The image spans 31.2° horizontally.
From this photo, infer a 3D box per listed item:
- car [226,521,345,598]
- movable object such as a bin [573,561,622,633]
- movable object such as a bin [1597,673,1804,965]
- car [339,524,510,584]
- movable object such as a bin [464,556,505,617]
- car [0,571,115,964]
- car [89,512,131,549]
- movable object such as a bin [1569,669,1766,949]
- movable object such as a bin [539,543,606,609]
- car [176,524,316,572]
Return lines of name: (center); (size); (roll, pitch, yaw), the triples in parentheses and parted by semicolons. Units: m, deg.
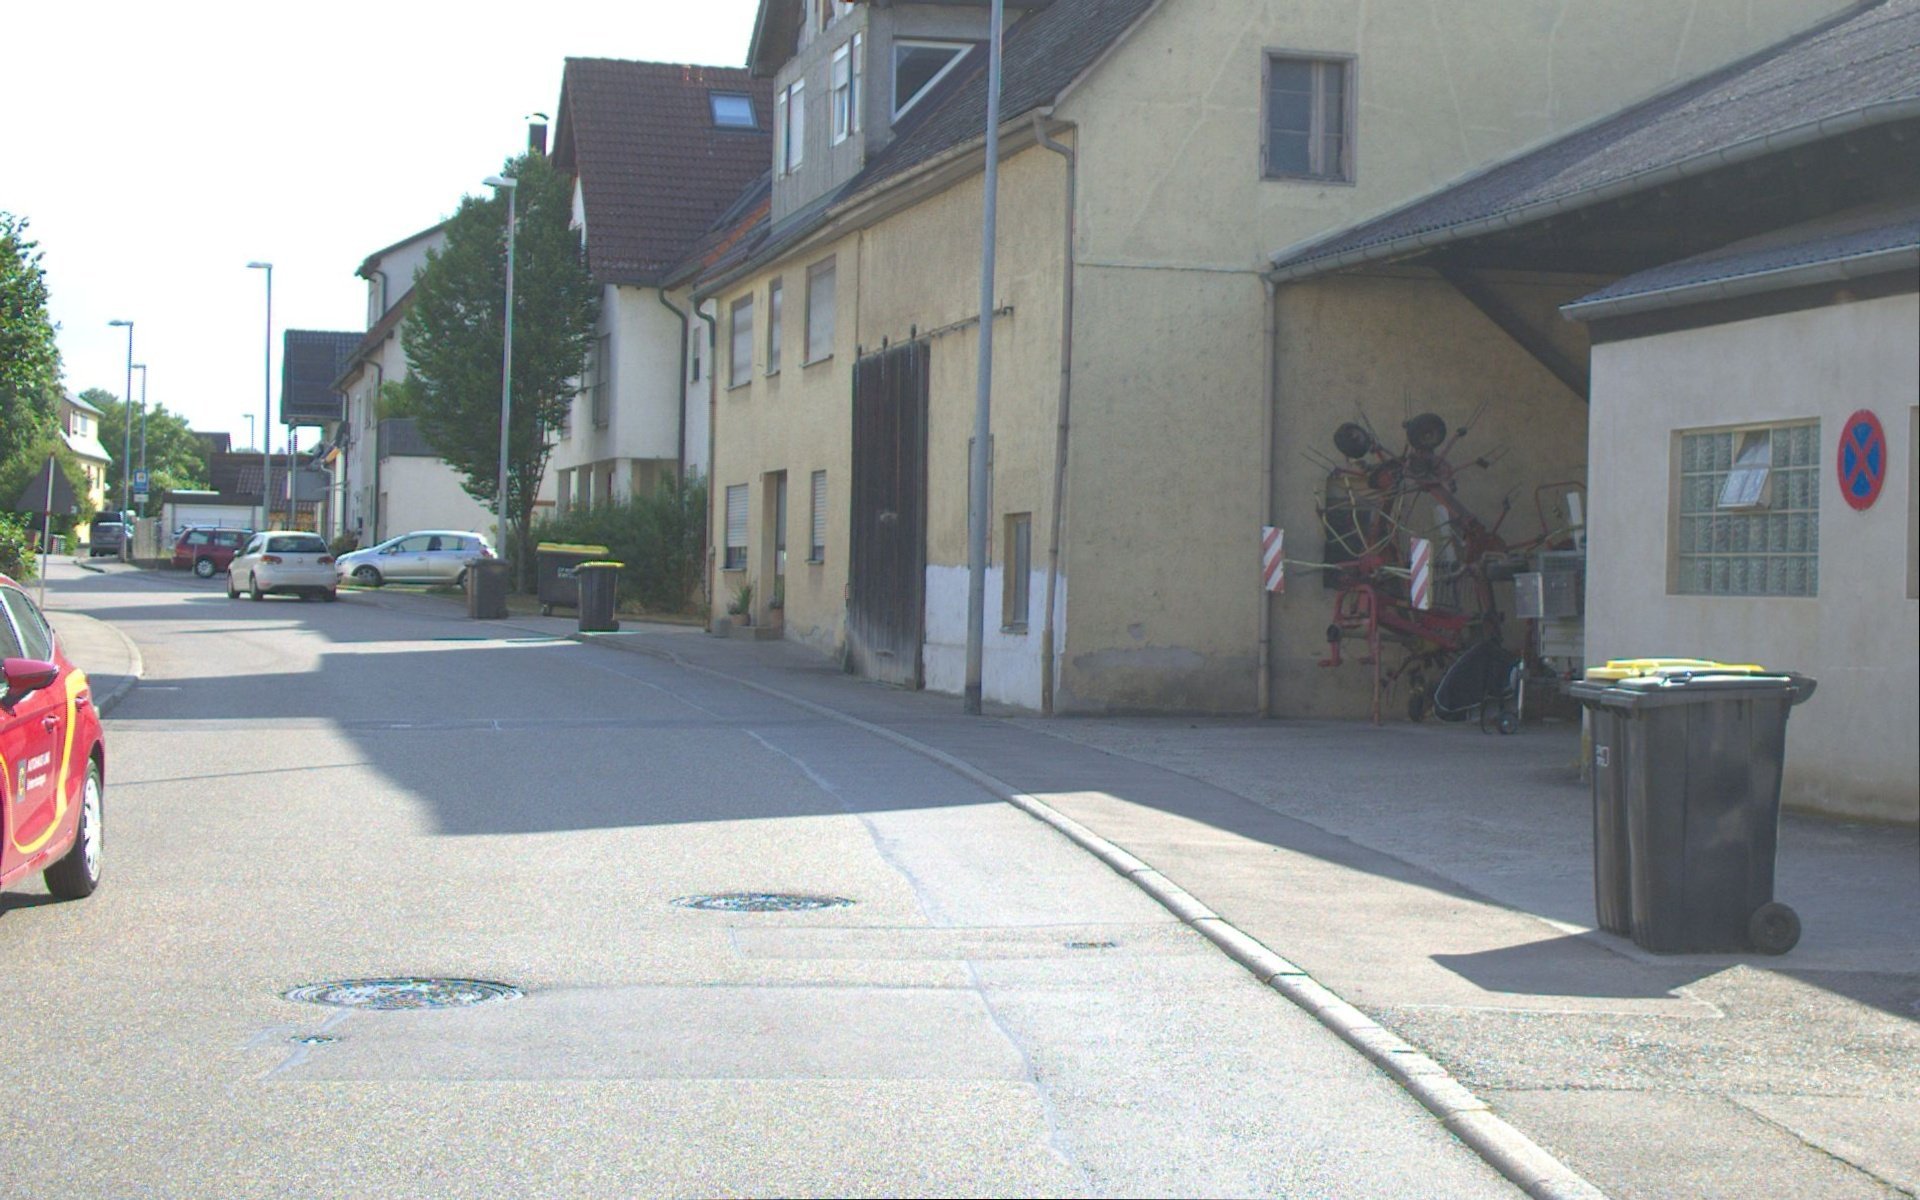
car: (-14.383, -0.883, 73.181); (1.704, 1.573, 4.001); (1, 1, -23)
movable object such as a bin: (-5.519, -0.047, 52.300); (0.652, 1.070, 0.513); (1, 1, -14)
movable object such as a bin: (2.828, 0.827, 13.161); (0.653, 1.070, 0.513); (1, 1, -1)
car: (-12.885, -1.113, 82.897); (3.986, 1.348, 1.711); (1, 1, -7)
movable object such as a bin: (-8.429, -0.238, 60.985); (0.652, 1.070, 0.513); (1, 1, -14)
car: (-4.451, 0.613, 13.416); (1.708, 1.430, 3.781); (-1, 0, -6)
car: (-37.011, -3.025, 149.759); (1.704, 1.546, 4.001); (1, 1, -13)
movable object such as a bin: (2.814, 0.824, 13.710); (0.653, 1.070, 0.513); (1, 1, -1)
movable object such as a bin: (-7.021, -0.441, 62.261); (1.160, 1.164, 0.655); (1, 1, -10)
car: (-21.162, -1.549, 101.841); (3.986, 1.348, 1.711); (1, 1, -13)
